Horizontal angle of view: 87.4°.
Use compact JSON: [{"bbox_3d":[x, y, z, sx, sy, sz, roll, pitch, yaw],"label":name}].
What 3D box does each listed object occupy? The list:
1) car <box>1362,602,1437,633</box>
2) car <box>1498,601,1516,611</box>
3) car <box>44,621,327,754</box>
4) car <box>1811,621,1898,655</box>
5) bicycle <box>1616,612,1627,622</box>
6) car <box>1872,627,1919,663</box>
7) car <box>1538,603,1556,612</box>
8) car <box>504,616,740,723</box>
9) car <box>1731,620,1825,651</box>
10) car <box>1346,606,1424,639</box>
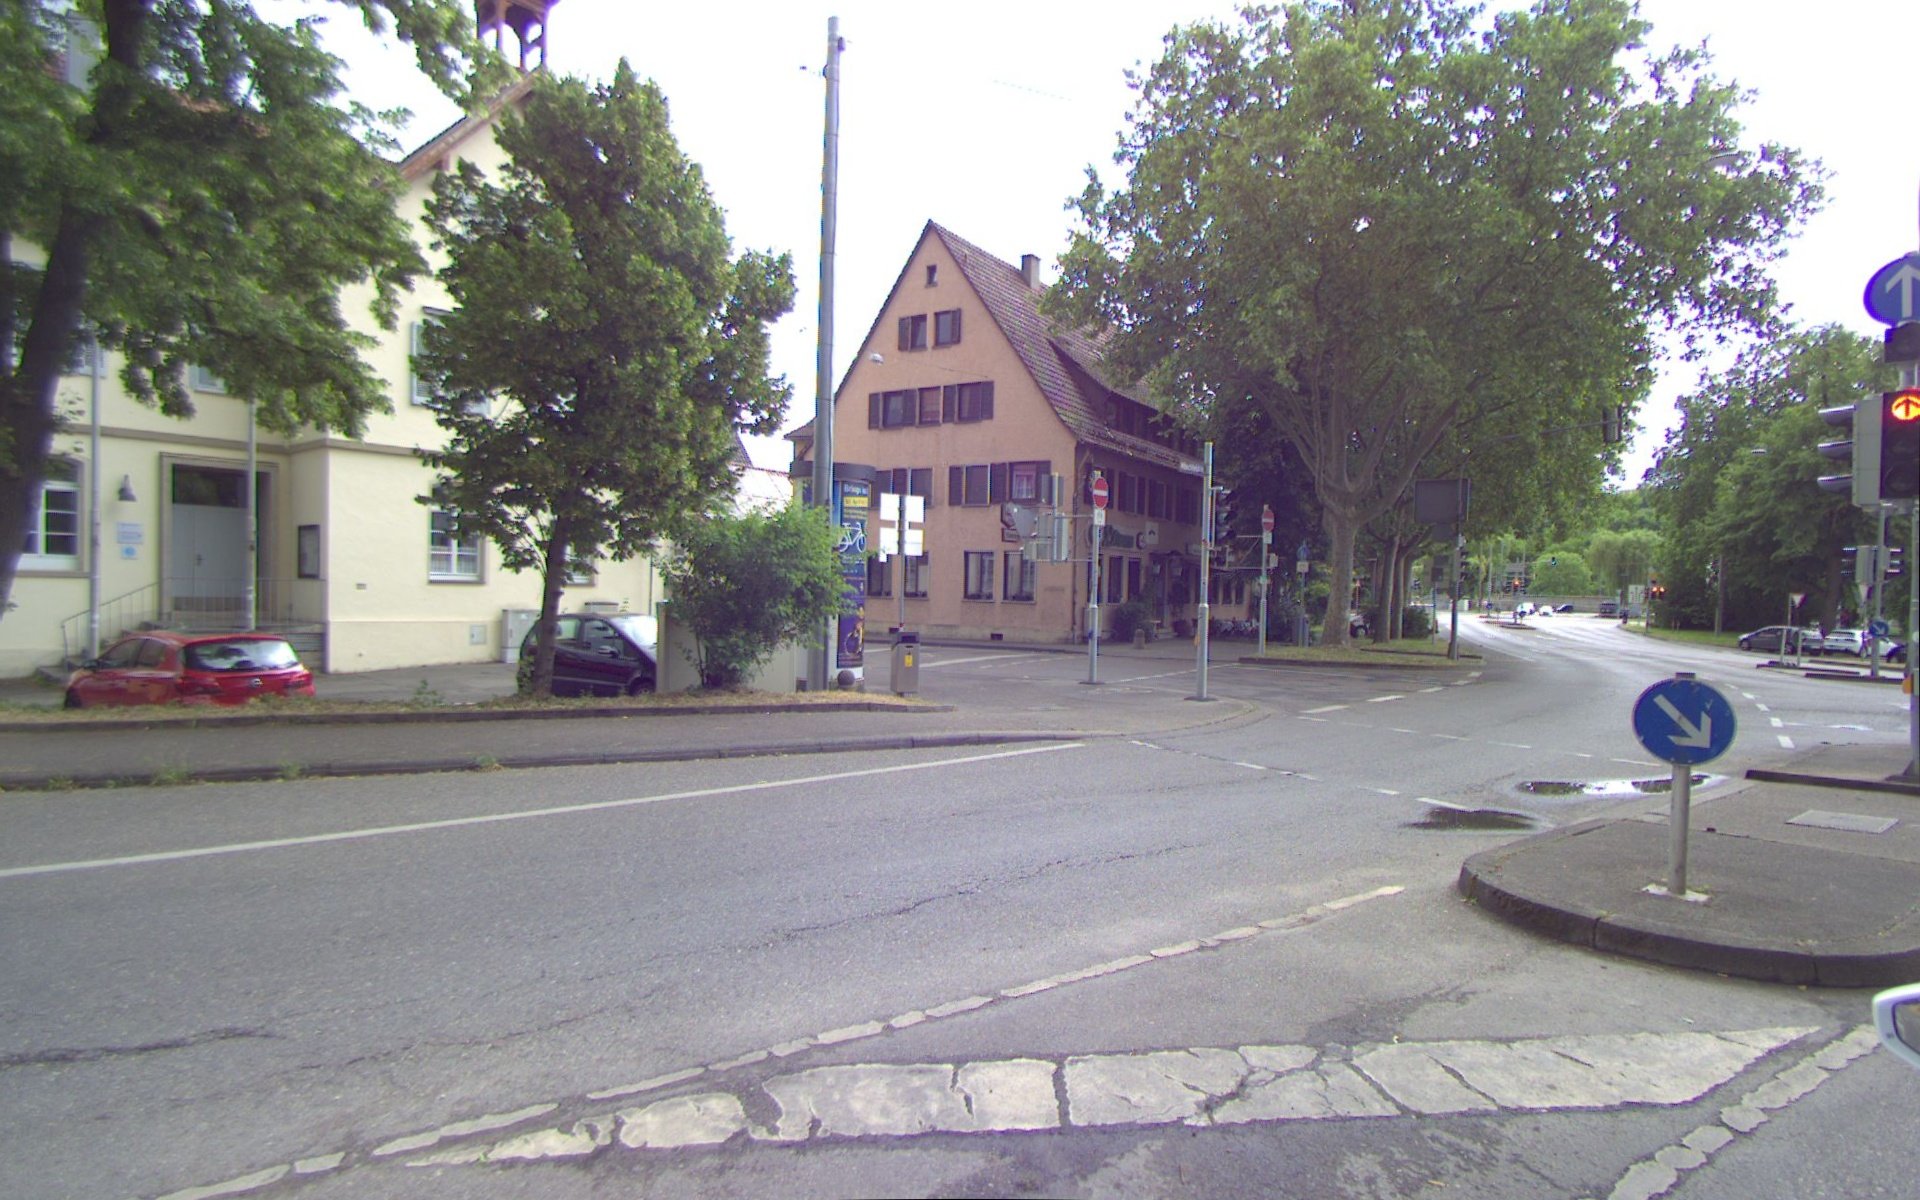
[{"bbox_3d":[25.727,1.007,58.782,3.924,1.706,1.998,1,0,25],"label":"car"},{"bbox_3d":[85.305,0.937,156.737,1.553,1.506,3.337,3,0,12],"label":"car"},{"bbox_3d":[-10.281,1.054,13.305,3.652,1.401,1.659,2,0,29],"label":"car"},{"bbox_3d":[47.459,2.036,53.324,3.696,1.662,1.859,2,0,-19],"label":"car"},{"bbox_3d":[69.208,1.797,105.127,0.550,0.971,2.020,2,0,44],"label":"bicycle"},{"bbox_3d":[39.443,1.858,40.763,1.746,1.370,3.326,2,0,-2],"label":"car"},{"bbox_3d":[90.729,1.164,155.382,1.469,1.436,3.028,3,0,11],"label":"car"},{"bbox_3d":[-5.536,1.057,16.441,3.507,1.459,1.644,2,0,26],"label":"car"},{"bbox_3d":[43.816,1.875,53.905,1.592,1.485,3.778,2,0,-11],"label":"car"},{"bbox_3d":[23.994,1.251,56.706,3.924,1.706,1.998,1,0,25],"label":"car"}]
